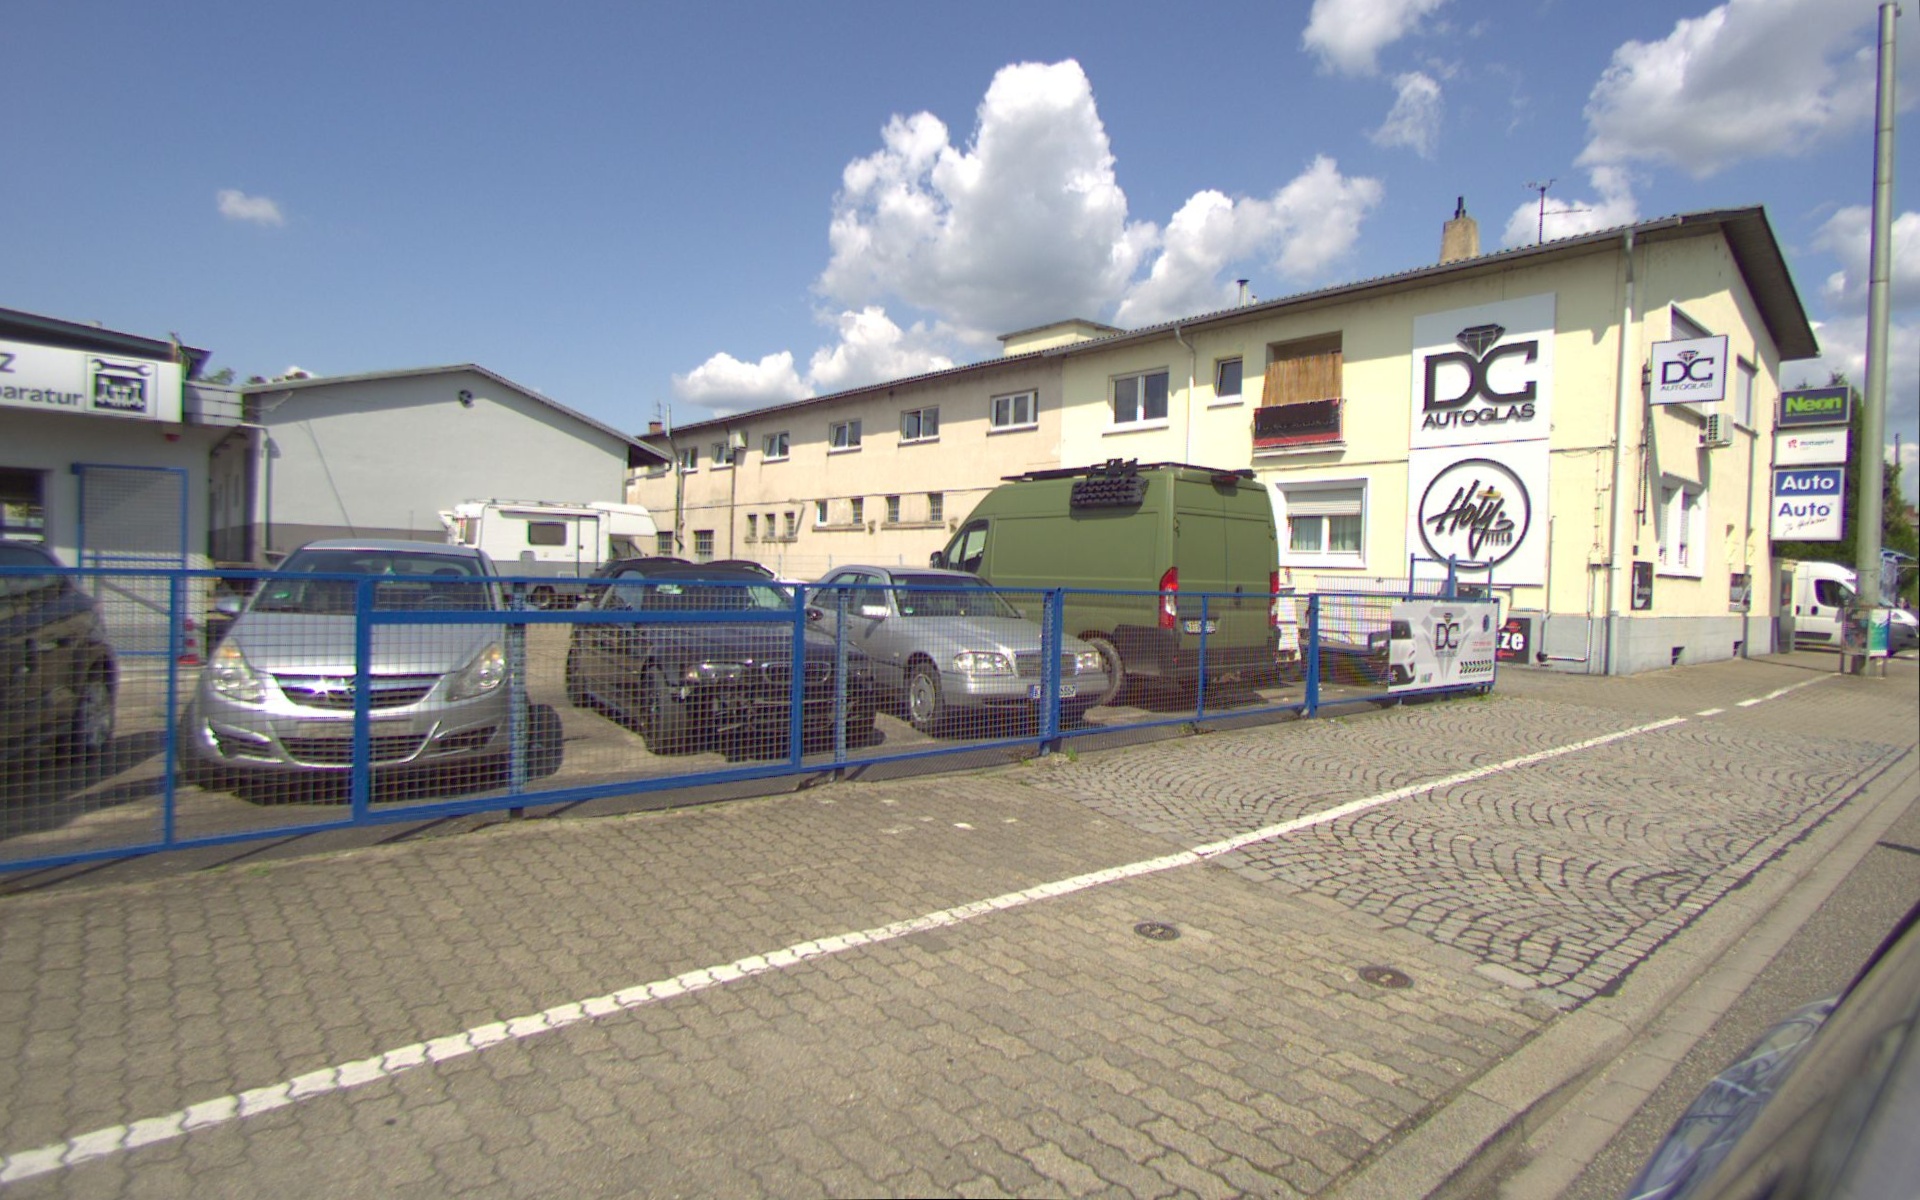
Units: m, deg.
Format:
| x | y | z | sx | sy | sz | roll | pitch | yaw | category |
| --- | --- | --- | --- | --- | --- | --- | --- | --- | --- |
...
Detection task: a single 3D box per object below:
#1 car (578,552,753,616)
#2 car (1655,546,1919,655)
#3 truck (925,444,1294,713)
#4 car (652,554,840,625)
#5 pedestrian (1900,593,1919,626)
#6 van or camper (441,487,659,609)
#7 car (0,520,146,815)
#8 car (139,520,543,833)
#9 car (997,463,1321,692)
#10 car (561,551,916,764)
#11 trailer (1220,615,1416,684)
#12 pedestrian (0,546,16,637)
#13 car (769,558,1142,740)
| x | y | z | sx | sy | sz | roll | pitch | yaw | category |
| --- | --- | --- | --- | --- | --- | --- | --- | --- | --- |
| -7.471 | -0.411 | 25.891 | 3.939 | 1.497 | 1.719 | 0 | 2 | -41 | car |
| 22.722 | -0.088 | 27.410 | 1.963 | 2.404 | 5.989 | 1 | 5 | -38 | car |
| 1.630 | -0.286 | 12.147 | 2.033 | 2.639 | 3.996 | 1 | 2 | -40 | truck |
| -4.918 | -0.247 | 23.521 | 3.939 | 1.497 | 1.719 | 0 | 2 | -41 | car |
| 47.992 | 0.471 | 50.985 | 0.902 | 1.606 | 0.816 | 1 | 1 | -41 | pedestrian |
| -11.000 | -1.324 | 27.370 | 4.971 | 2.999 | 2.284 | 0 | 2 | -42 | van or camper |
| -5.740 | 0.323 | 5.035 | 1.685 | 1.497 | 4.012 | 1 | 2 | -25 | car |
| -3.943 | 0.301 | 7.104 | 1.766 | 1.497 | 4.158 | 1 | 2 | -24 | car |
| 2.619 | -0.347 | 14.144 | 1.771 | 2.702 | 4.208 | 1 | 2 | -40 | car |
| -2.117 | 0.309 | 8.748 | 1.768 | 1.403 | 3.837 | 1 | 2 | -32 | car |
| 5.089 | 0.668 | 14.530 | 1.245 | 0.776 | 2.330 | 0 | 2 | -39 | trailer |
| -13.251 | -0.128 | 13.843 | 0.479 | 1.228 | 0.501 | 1 | 1 | -42 | pedestrian |
| -0.289 | 0.318 | 10.207 | 1.768 | 1.413 | 4.216 | 1 | 2 | -33 | car |
